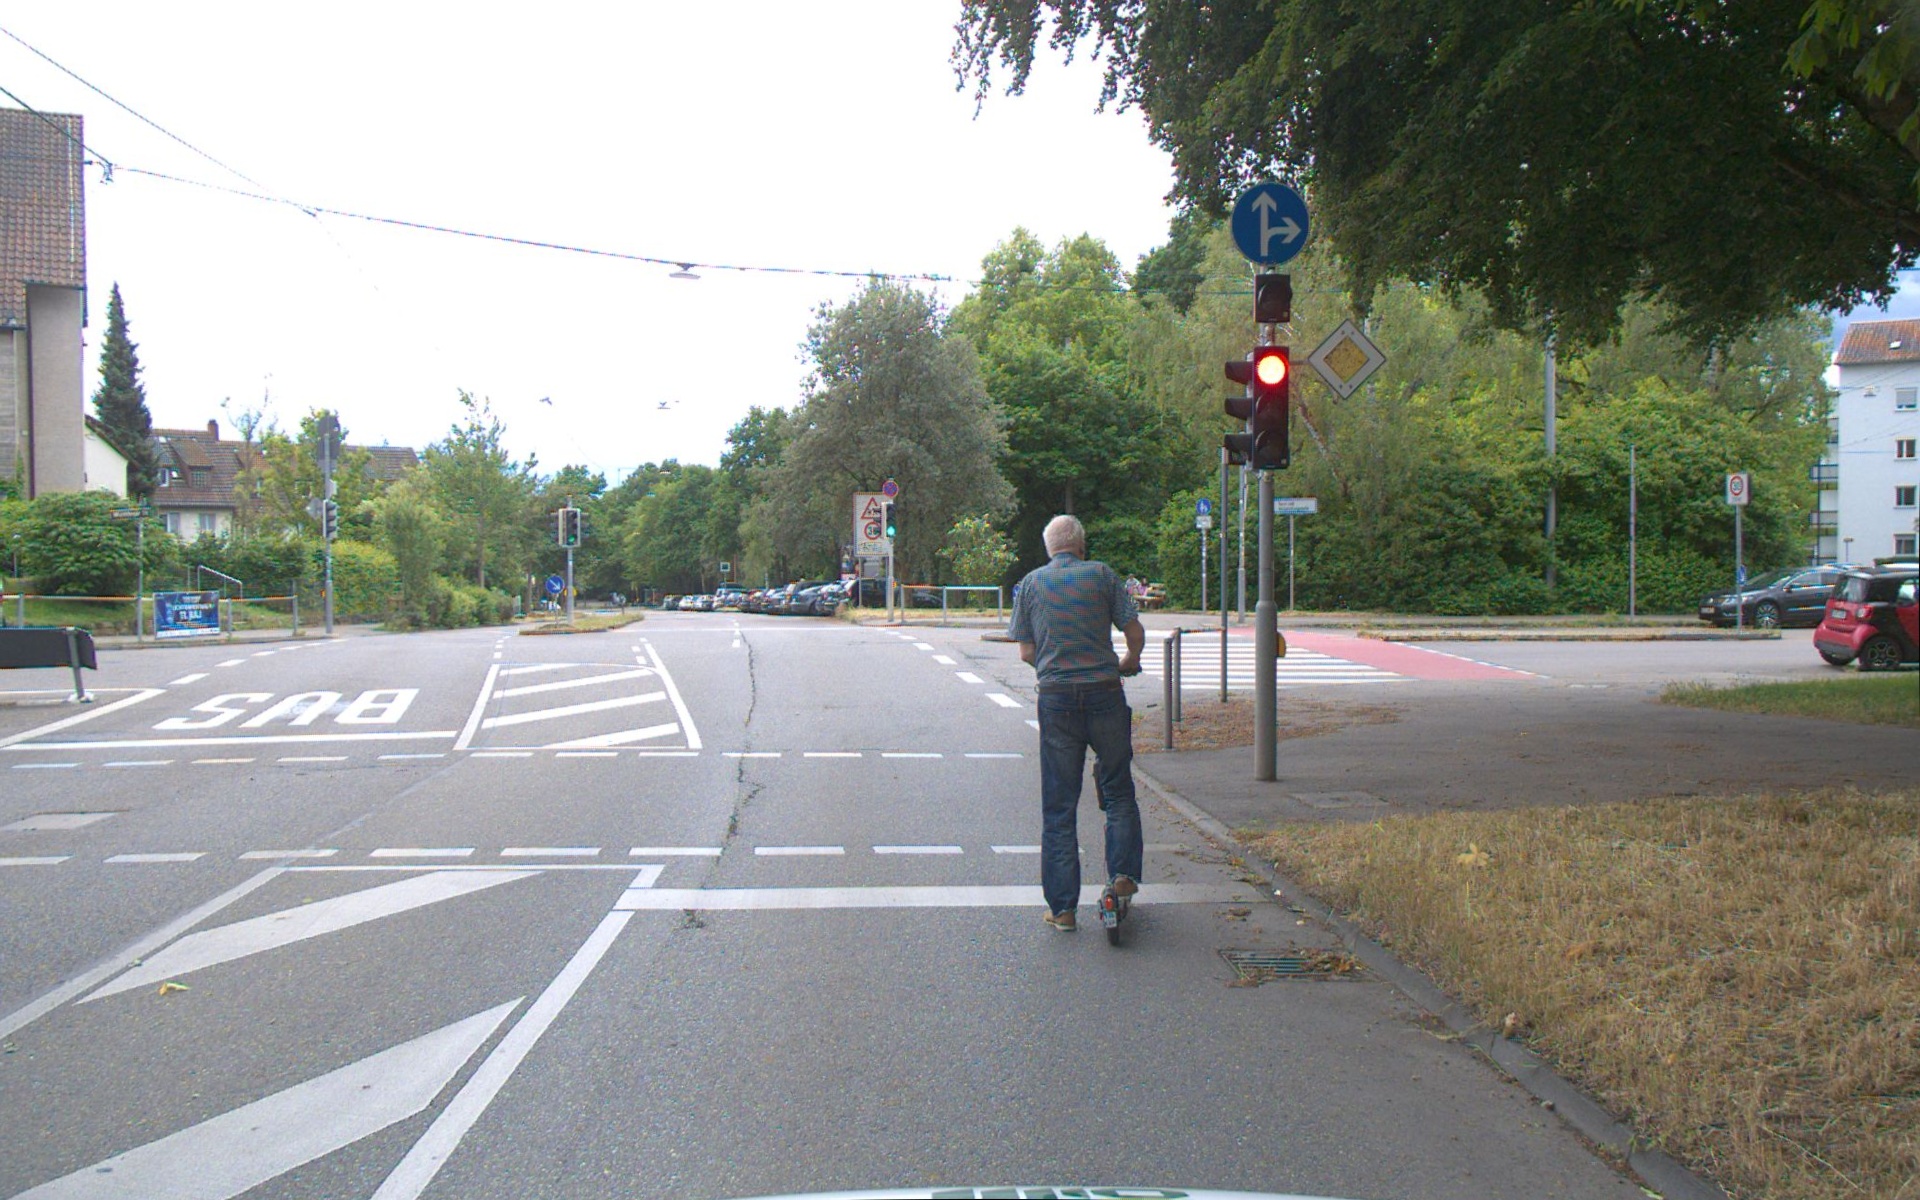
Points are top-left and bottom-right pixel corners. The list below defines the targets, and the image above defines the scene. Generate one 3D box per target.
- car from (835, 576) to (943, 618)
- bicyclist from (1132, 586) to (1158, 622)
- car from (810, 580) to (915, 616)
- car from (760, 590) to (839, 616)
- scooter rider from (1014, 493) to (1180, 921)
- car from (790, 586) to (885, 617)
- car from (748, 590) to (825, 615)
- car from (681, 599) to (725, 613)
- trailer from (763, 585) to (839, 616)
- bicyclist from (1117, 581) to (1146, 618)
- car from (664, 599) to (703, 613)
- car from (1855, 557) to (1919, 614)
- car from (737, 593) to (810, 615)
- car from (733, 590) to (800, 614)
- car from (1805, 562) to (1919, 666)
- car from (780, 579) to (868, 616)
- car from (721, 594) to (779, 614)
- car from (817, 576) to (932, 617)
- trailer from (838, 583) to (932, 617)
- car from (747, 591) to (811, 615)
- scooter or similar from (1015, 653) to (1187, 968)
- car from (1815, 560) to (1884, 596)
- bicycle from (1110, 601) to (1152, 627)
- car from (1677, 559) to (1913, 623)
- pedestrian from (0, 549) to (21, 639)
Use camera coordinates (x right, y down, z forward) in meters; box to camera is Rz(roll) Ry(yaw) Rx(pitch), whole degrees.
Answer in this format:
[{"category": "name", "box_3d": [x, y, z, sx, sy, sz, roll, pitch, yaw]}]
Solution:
[{"category": "car", "box_3d": [-2.570, -0.109, 59.731, 3.653, 1.502, 1.570, 0, 0, -15]}, {"category": "bicyclist", "box_3d": [6.394, 0.144, 57.086, 0.509, 1.208, 0.964, -2, -1, 33]}, {"category": "car", "box_3d": [-4.122, -0.075, 69.952, 4.159, 1.490, 1.625, 0, 0, -21]}, {"category": "car", "box_3d": [-8.647, 0.136, 88.872, 3.979, 1.351, 1.549, 0, -1, -21]}, {"category": "scooter rider", "box_3d": [0.581, 0.423, 7.388, 0.667, 1.760, 1.197, 0, 2, 1]}, {"category": "car", "box_3d": [-5.668, 0.065, 76.627, 4.103, 1.431, 1.686, 0, -1, -23]}, {"category": "car", "box_3d": [-10.381, 0.143, 98.914, 4.291, 1.471, 1.620, 0, 0, -27]}, {"category": "car", "box_3d": [-24.592, 0.605, 158.389, 3.855, 1.332, 1.721, 0, -1, -37]}, {"category": "trailer", "box_3d": [-8.319, 0.027, 86.530, 3.639, 1.562, 1.634, 0, 0, -24]}, {"category": "bicyclist", "box_3d": [5.763, -0.011, 55.501, 0.629, 1.182, 0.800, 3, 4, 36]}, {"category": "car", "box_3d": [-29.424, 0.660, 176.062, 3.847, 1.454, 1.724, 0, -1, -32]}, {"category": "car", "box_3d": [26.168, -0.394, 45.575, 1.763, 1.513, 3.673, 0, 0, 13]}, {"category": "car", "box_3d": [-11.746, 0.229, 104.185, 4.259, 1.364, 1.719, 0, -1, -26]}, {"category": "car", "box_3d": [-12.498, 0.129, 106.925, 4.036, 1.542, 1.713, -1, 0, -35]}, {"category": "car", "box_3d": [14.986, 0.203, 25.680, 2.850, 1.532, 1.697, 0, 2, 3]}, {"category": "car", "box_3d": [-6.523, -0.124, 79.173, 3.929, 1.755, 1.670, 0, -1, -22]}, {"category": "car", "box_3d": [-15.447, 0.274, 121.797, 3.918, 1.430, 1.741, 0, -1, -27]}, {"category": "car", "box_3d": [-3.213, -0.113, 62.228, 4.079, 1.502, 1.565, 0, -1, -23]}, {"category": "trailer", "box_3d": [-2.958, -0.008, 65.211, 3.354, 1.289, 1.606, 0, -1, -22]}, {"category": "car", "box_3d": [-11.115, 0.160, 101.702, 3.568, 1.471, 1.619, 0, 0, -28]}, {"category": "scooter or similar", "box_3d": [0.584, 0.858, 7.280, 0.667, 1.159, 1.460, 0, 2, 1]}, {"category": "car", "box_3d": [40.338, -0.995, 75.084, 1.888, 1.572, 4.067, 0, 0, 15]}, {"category": "bicycle", "box_3d": [5.741, 0.472, 55.525, 0.629, 0.771, 1.675, 3, 4, 36]}, {"category": "car", "box_3d": [19.815, -0.237, 39.337, 4.694, 1.464, 2.036, 0, 1, -8]}, {"category": "pedestrian", "box_3d": [-18.286, -0.111, 31.122, 0.674, 1.682, 0.830, 1, -1, 27]}]
